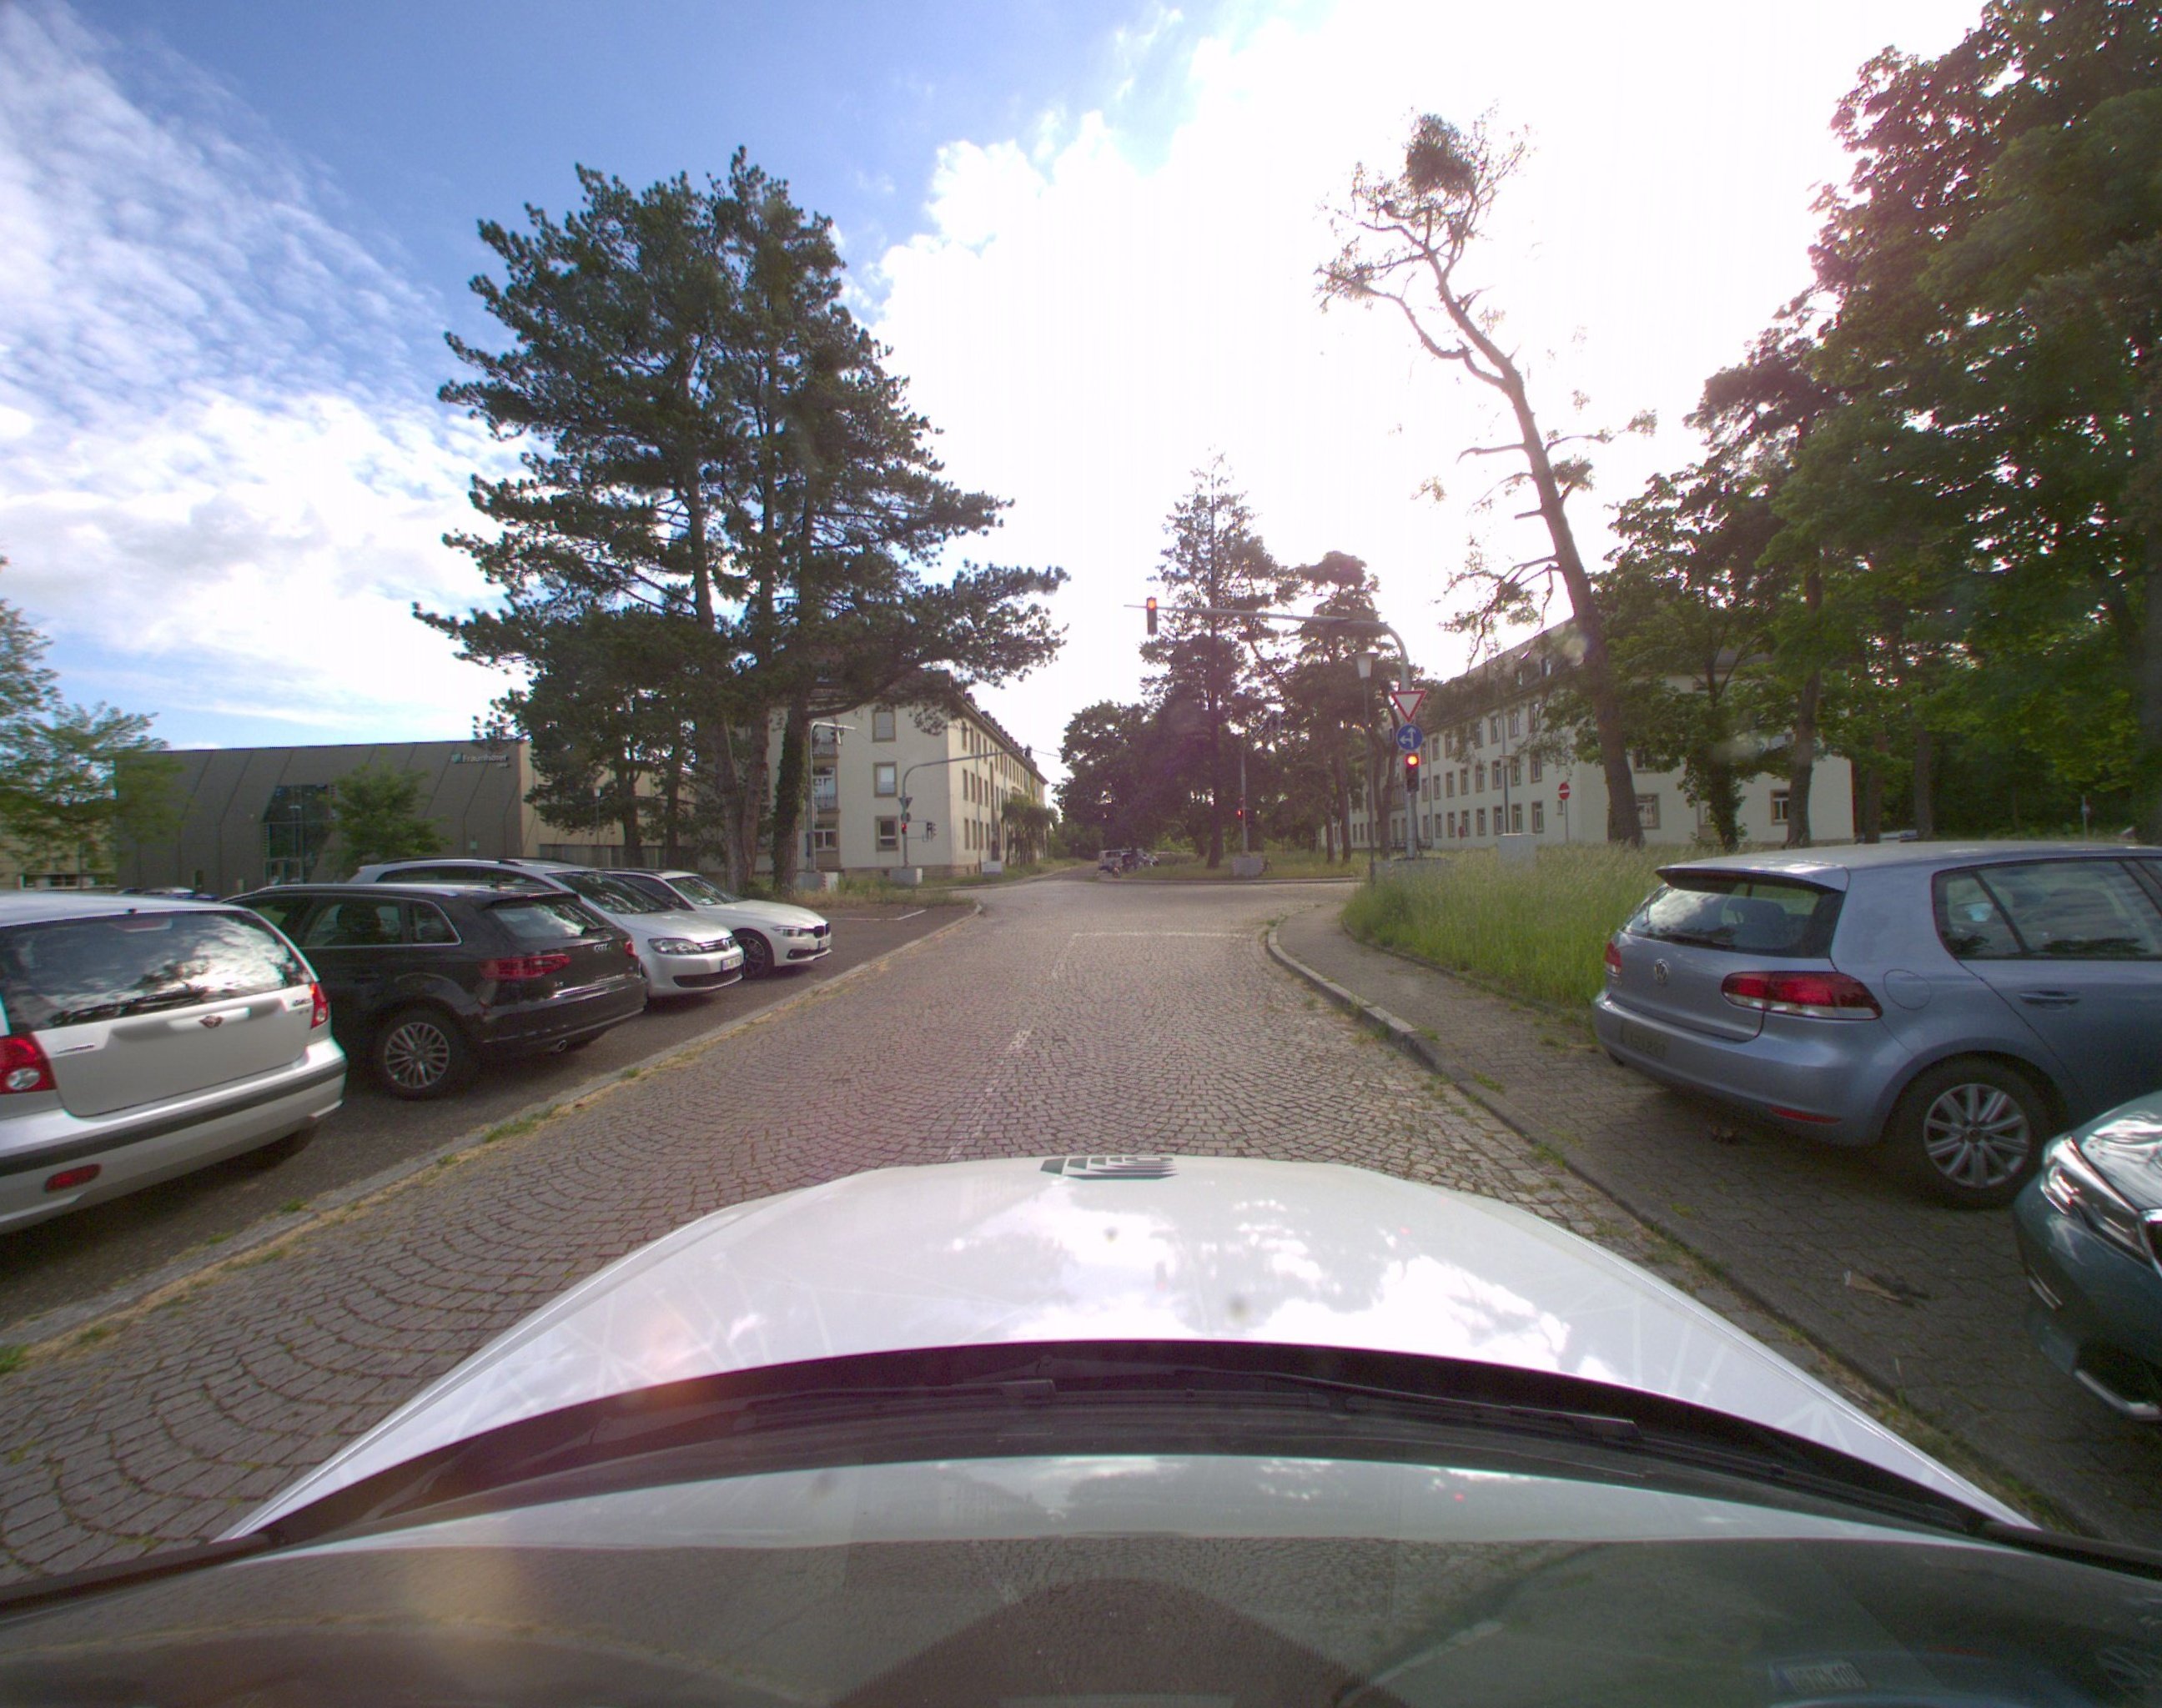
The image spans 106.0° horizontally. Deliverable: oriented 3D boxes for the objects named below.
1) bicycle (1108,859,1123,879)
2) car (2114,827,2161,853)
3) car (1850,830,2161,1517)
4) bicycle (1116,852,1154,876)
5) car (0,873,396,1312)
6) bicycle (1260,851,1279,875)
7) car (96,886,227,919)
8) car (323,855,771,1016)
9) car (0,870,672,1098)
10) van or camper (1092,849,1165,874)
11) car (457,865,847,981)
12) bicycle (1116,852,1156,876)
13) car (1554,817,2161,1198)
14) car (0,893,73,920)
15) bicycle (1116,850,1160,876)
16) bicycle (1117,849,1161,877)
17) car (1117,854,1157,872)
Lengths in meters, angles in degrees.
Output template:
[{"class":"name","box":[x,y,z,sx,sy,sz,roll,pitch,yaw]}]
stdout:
[{"class":"bicycle","box":[2.091,0.870,49.030,0.722,1.107,2.465,-6,-1,4]},{"class":"car","box":[59.432,-0.743,44.484,3.971,1.398,1.564,1,0,2]},{"class":"car","box":[4.568,0.627,1.551,4.498,1.483,1.807,-2,0,0]},{"class":"bicycle","box":[3.930,0.696,59.352,2.763,1.694,1.121,0,0,4]},{"class":"car","box":[-5.546,0.841,3.602,3.565,1.476,1.647,1,0,0]},{"class":"bicycle","box":[9.520,0.462,41.213,0.719,1.169,2.744,0,0,9]},{"class":"car","box":[-46.559,2.433,41.384,1.749,1.414,4.138,-2,0,6]},{"class":"car","box":[-5.748,0.830,9.141,3.819,1.607,1.735,1,0,0]},{"class":"car","box":[-5.492,0.871,6.242,3.821,1.408,1.696,1,0,2]},{"class":"van or camper","box":[4.147,0.642,71.234,6.035,1.949,1.992,-2,0,-11]},{"class":"car","box":[-5.814,0.908,11.484,4.464,1.442,1.829,1,0,-1]},{"class":"bicycle","box":[3.947,0.705,58.011,2.761,1.694,1.122,0,0,6]},{"class":"car","box":[4.783,0.583,4.084,3.828,1.471,1.642,-2,0,2]},{"class":"car","box":[-55.708,2.763,42.161,1.597,1.272,4.204,-2,0,6]},{"class":"bicycle","box":[3.821,0.599,54.446,2.771,1.694,1.118,-2,0,-5]},{"class":"bicycle","box":[3.787,0.569,53.252,2.769,1.694,1.119,-2,0,-3]},{"class":"car","box":[4.598,0.734,67.633,3.131,1.354,1.618,-2,0,-3]}]
